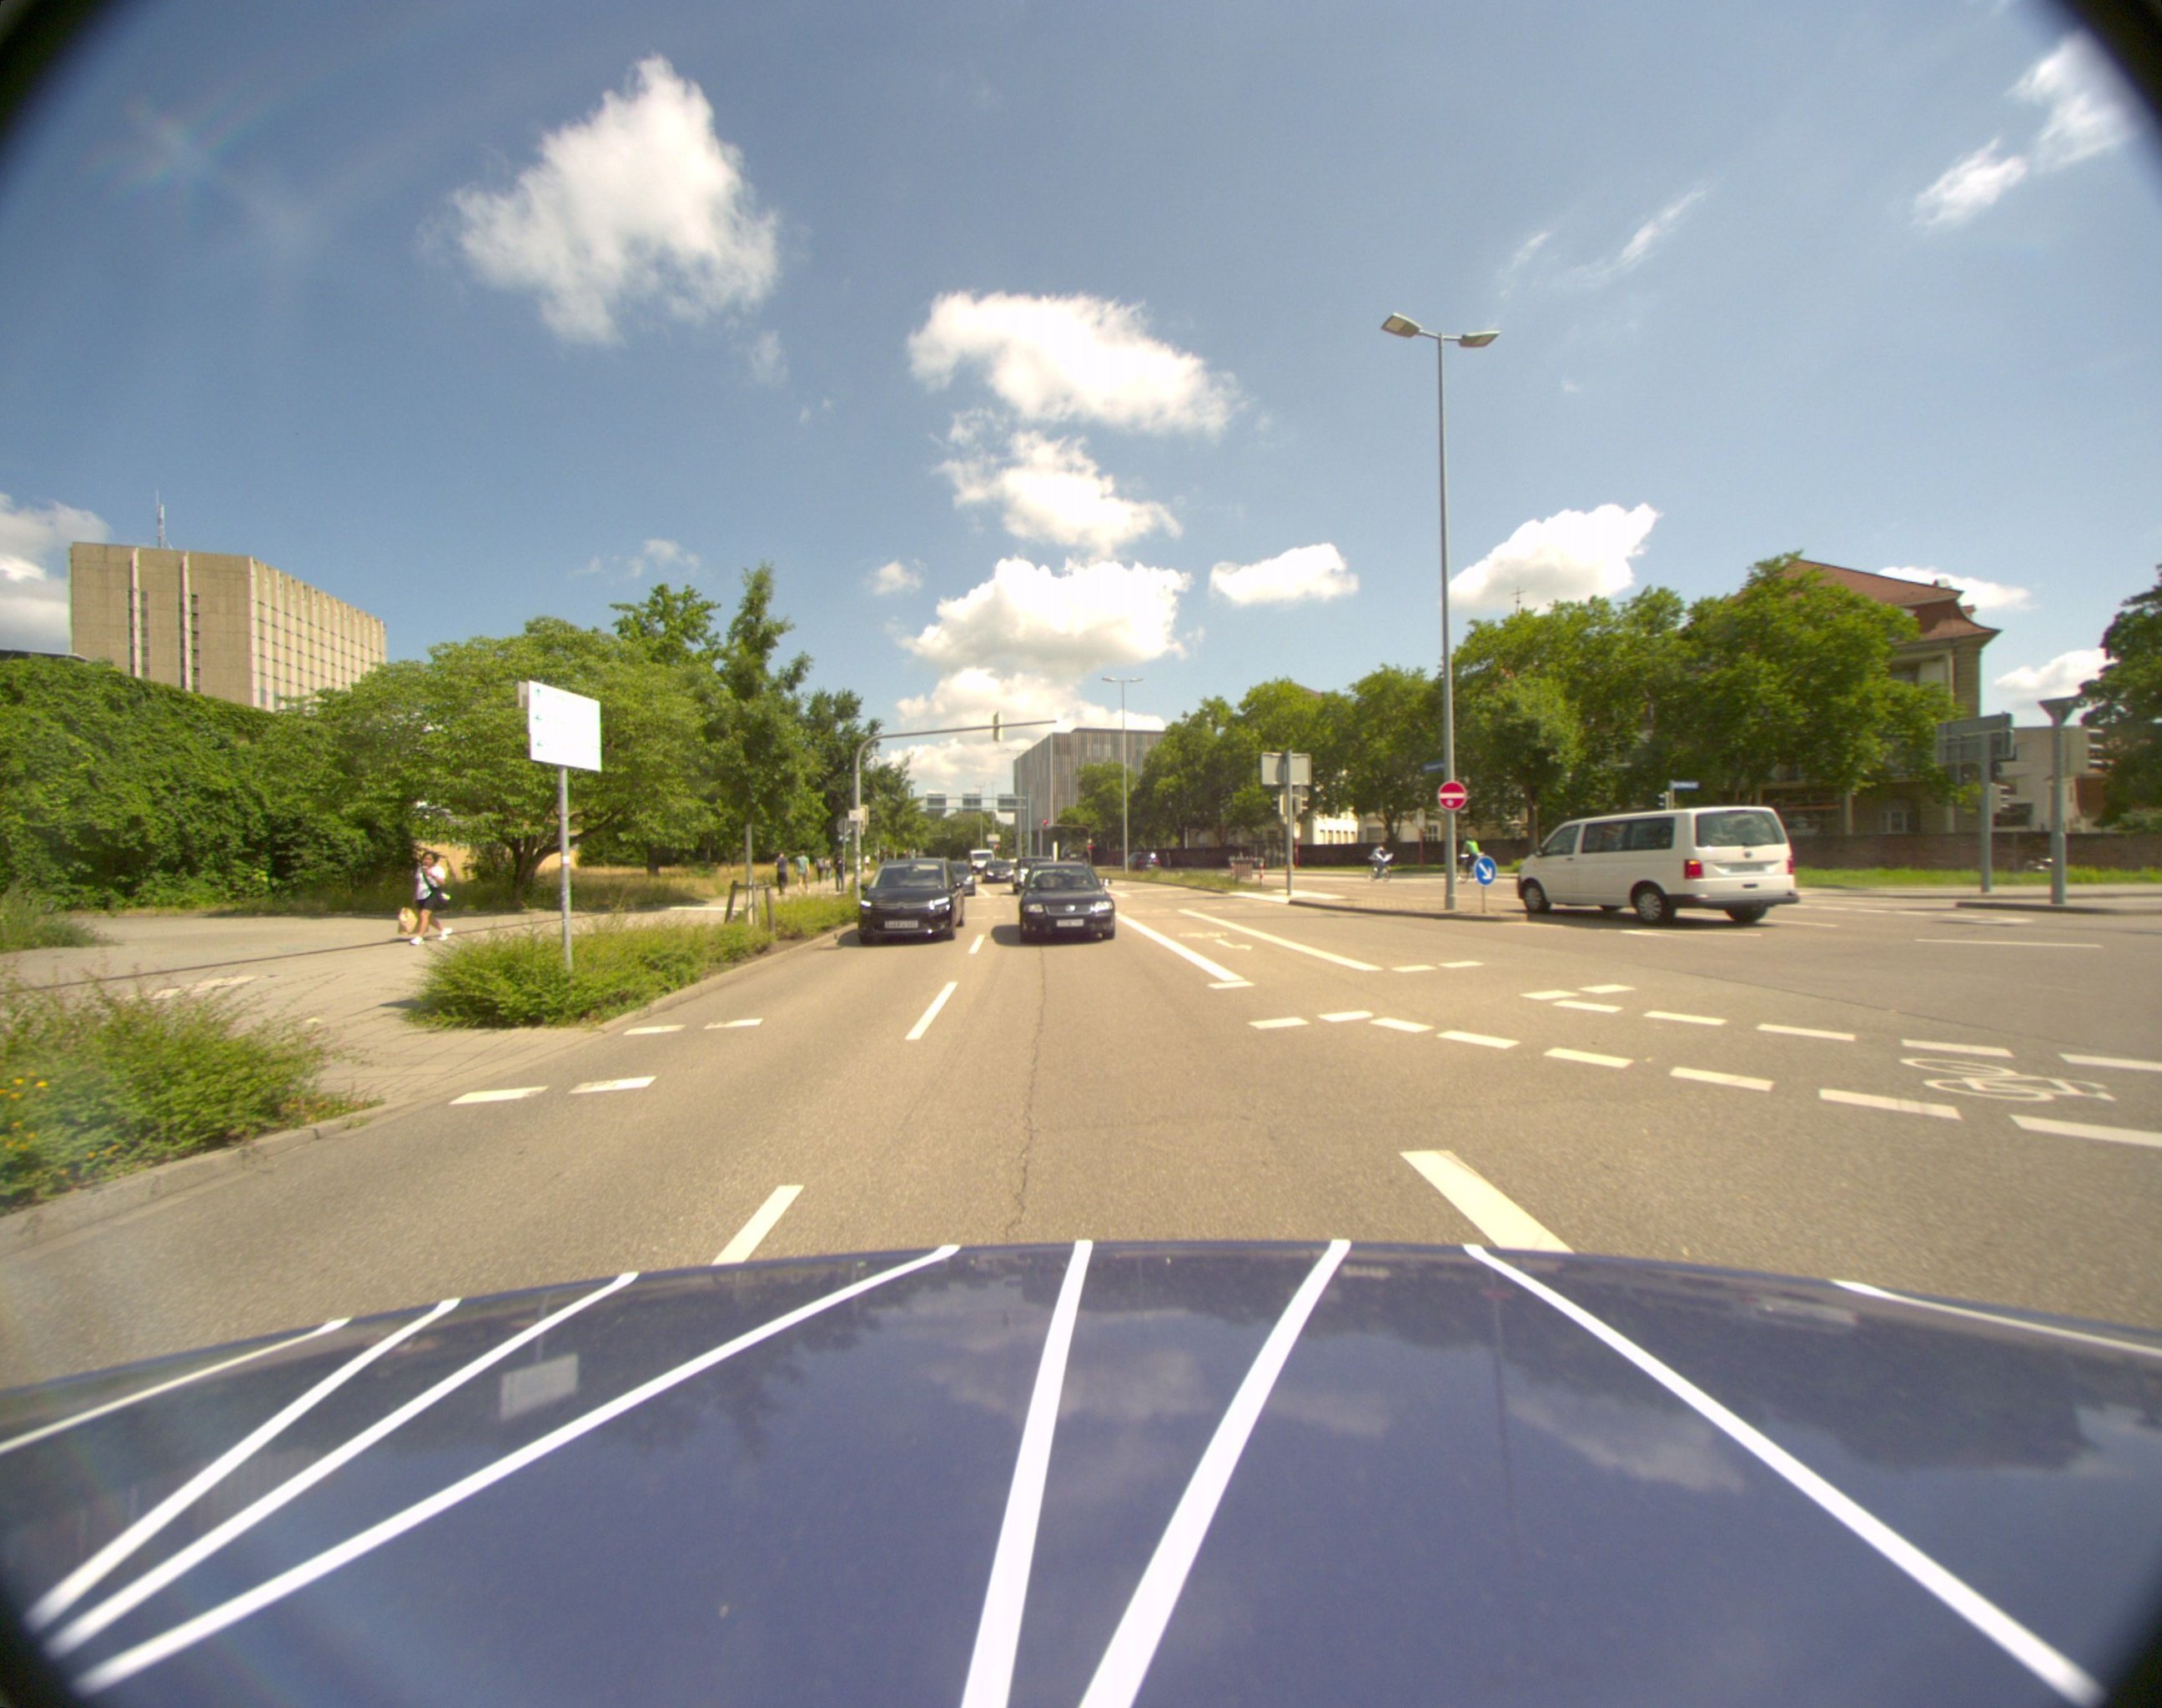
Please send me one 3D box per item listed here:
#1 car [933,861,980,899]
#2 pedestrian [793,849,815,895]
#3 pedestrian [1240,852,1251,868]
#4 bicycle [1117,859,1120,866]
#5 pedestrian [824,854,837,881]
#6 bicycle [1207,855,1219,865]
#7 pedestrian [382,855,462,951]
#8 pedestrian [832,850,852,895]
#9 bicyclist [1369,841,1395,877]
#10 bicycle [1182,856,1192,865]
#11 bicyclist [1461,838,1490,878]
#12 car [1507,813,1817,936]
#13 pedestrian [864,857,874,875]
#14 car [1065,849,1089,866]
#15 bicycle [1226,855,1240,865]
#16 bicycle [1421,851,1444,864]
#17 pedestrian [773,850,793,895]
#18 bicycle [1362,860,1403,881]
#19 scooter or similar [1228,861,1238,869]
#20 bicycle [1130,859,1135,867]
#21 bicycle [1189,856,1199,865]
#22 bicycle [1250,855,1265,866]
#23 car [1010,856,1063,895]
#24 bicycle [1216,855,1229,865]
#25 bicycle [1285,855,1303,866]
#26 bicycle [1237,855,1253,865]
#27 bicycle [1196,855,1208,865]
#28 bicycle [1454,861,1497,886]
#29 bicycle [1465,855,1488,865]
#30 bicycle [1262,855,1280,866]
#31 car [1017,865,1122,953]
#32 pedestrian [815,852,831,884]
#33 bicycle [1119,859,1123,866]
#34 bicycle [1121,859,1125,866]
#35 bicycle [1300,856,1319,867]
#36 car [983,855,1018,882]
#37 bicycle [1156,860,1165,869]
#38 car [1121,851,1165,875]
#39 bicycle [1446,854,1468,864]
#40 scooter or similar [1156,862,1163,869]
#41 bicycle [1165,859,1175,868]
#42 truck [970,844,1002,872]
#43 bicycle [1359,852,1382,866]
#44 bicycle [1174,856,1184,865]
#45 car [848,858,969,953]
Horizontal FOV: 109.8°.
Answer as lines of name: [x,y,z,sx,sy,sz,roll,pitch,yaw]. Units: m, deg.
car: [-5.195,1.035,32.167,1.767,1.409,4.360,-3,0,-8]
pedestrian: [-10.951,0.717,30.095,0.753,1.767,0.880,1,0,-17]
pedestrian: [16.608,0.588,76.616,0.724,1.601,0.779,-1,0,-41]
bicycle: [5.268,1.199,106.656,0.329,1.012,1.671,-1,0,10]
pedestrian: [-15.947,0.854,48.301,0.669,1.739,0.877,1,0,-12]
bicycle: [14.574,0.689,83.956,0.398,1.037,1.580,-1,0,-26]
pedestrian: [-11.346,0.823,13.115,0.753,1.587,0.880,1,0,-19]
pedestrian: [-9.555,0.735,30.403,0.669,1.739,0.847,1,0,-12]
bicyclist: [13.664,0.240,34.486,0.778,1.609,0.842,-1,0,-9]
bicycle: [12.358,0.757,88.666,0.383,1.037,1.667,-1,0,-24]
bicyclist: [14.579,0.163,28.080,0.567,1.453,0.836,-1,0,-5]
car: [10.377,0.336,14.202,1.886,1.883,4.868,-1,0,-3]
pedestrian: [-20.984,1.178,75.202,0.845,1.755,0.841,-2,1,-12]
car: [-0.564,0.497,97.316,2.217,2.158,4.516,1,-1,-12]
bicycle: [16.127,0.641,80.758,0.398,1.037,1.758,-1,0,-27]
bicycle: [28.416,0.270,61.458,0.399,1.024,1.683,-1,0,-38]
pedestrian: [-11.614,0.728,29.627,0.669,1.736,0.608,1,0,-17]
bicycle: [13.666,0.740,34.502,0.778,0.884,2.107,0,0,-8]
scooter or similar: [15.926,1.179,79.764,0.354,0.789,1.067,-1,0,-36]
bicycle: [6.925,1.172,102.010,0.382,1.101,1.671,-1,0,10]
bicycle: [12.995,0.732,87.224,0.378,1.037,1.414,-1,0,-26]
bicycle: [17.972,0.649,77.407,0.398,1.037,1.636,-1,0,-31]
car: [-1.956,0.870,32.392,1.753,1.495,4.517,-3,0,-9]
bicycle: [15.324,0.645,82.392,0.398,0.997,1.758,-1,0,-26]
bicycle: [20.437,0.670,73.027,0.398,1.037,1.953,-1,0,-31]
bicycle: [17.027,0.649,79.029,0.398,1.037,1.953,-1,0,-28]
bicycle: [13.705,0.688,85.753,0.398,1.037,1.758,-1,0,-26]
bicycle: [14.579,0.707,28.117,0.569,0.884,1.742,-1,0,-5]
bicycle: [30.627,0.448,58.784,0.399,0.784,1.540,-1,0,-38]
bicycle: [18.938,0.623,75.769,0.398,1.037,1.953,-1,0,-31]
car: [-0.380,0.972,15.242,1.752,1.426,4.518,-1,0,-5]
pedestrian: [-14.476,0.780,42.713,0.752,1.739,0.666,1,0,-12]
bicycle: [5.547,1.185,105.968,0.329,1.012,1.671,-1,0,10]
bicycle: [5.867,1.192,105.088,0.329,1.012,1.671,-1,0,10]
bicycle: [21.457,0.673,71.271,0.398,1.037,1.953,-1,0,-31]
car: [-5.072,0.892,47.472,1.753,1.495,4.516,-3,0,-11]
bicycle: [9.911,1.257,94.574,0.383,1.101,1.667,-1,0,-24]
car: [4.340,0.656,54.094,1.888,1.614,4.151,-2,0,-13]
bicycle: [29.680,0.415,59.995,0.399,0.784,1.462,-1,0,-38]
scooter or similar: [9.679,1.355,93.267,0.353,0.838,1.067,-1,0,-25]
bicycle: [10.781,1.147,92.119,0.383,1.037,1.667,-1,0,-24]
truck: [-8.788,0.392,69.561,2.464,2.287,5.810,-3,0,-11]
bicycle: [25.127,0.446,66.006,0.399,1.130,2.034,-1,0,-36]
bicycle: [11.639,0.793,90.331,0.383,1.037,1.667,-1,0,-24]
car: [-3.446,0.942,16.017,1.863,1.613,4.518,-3,0,-6]
